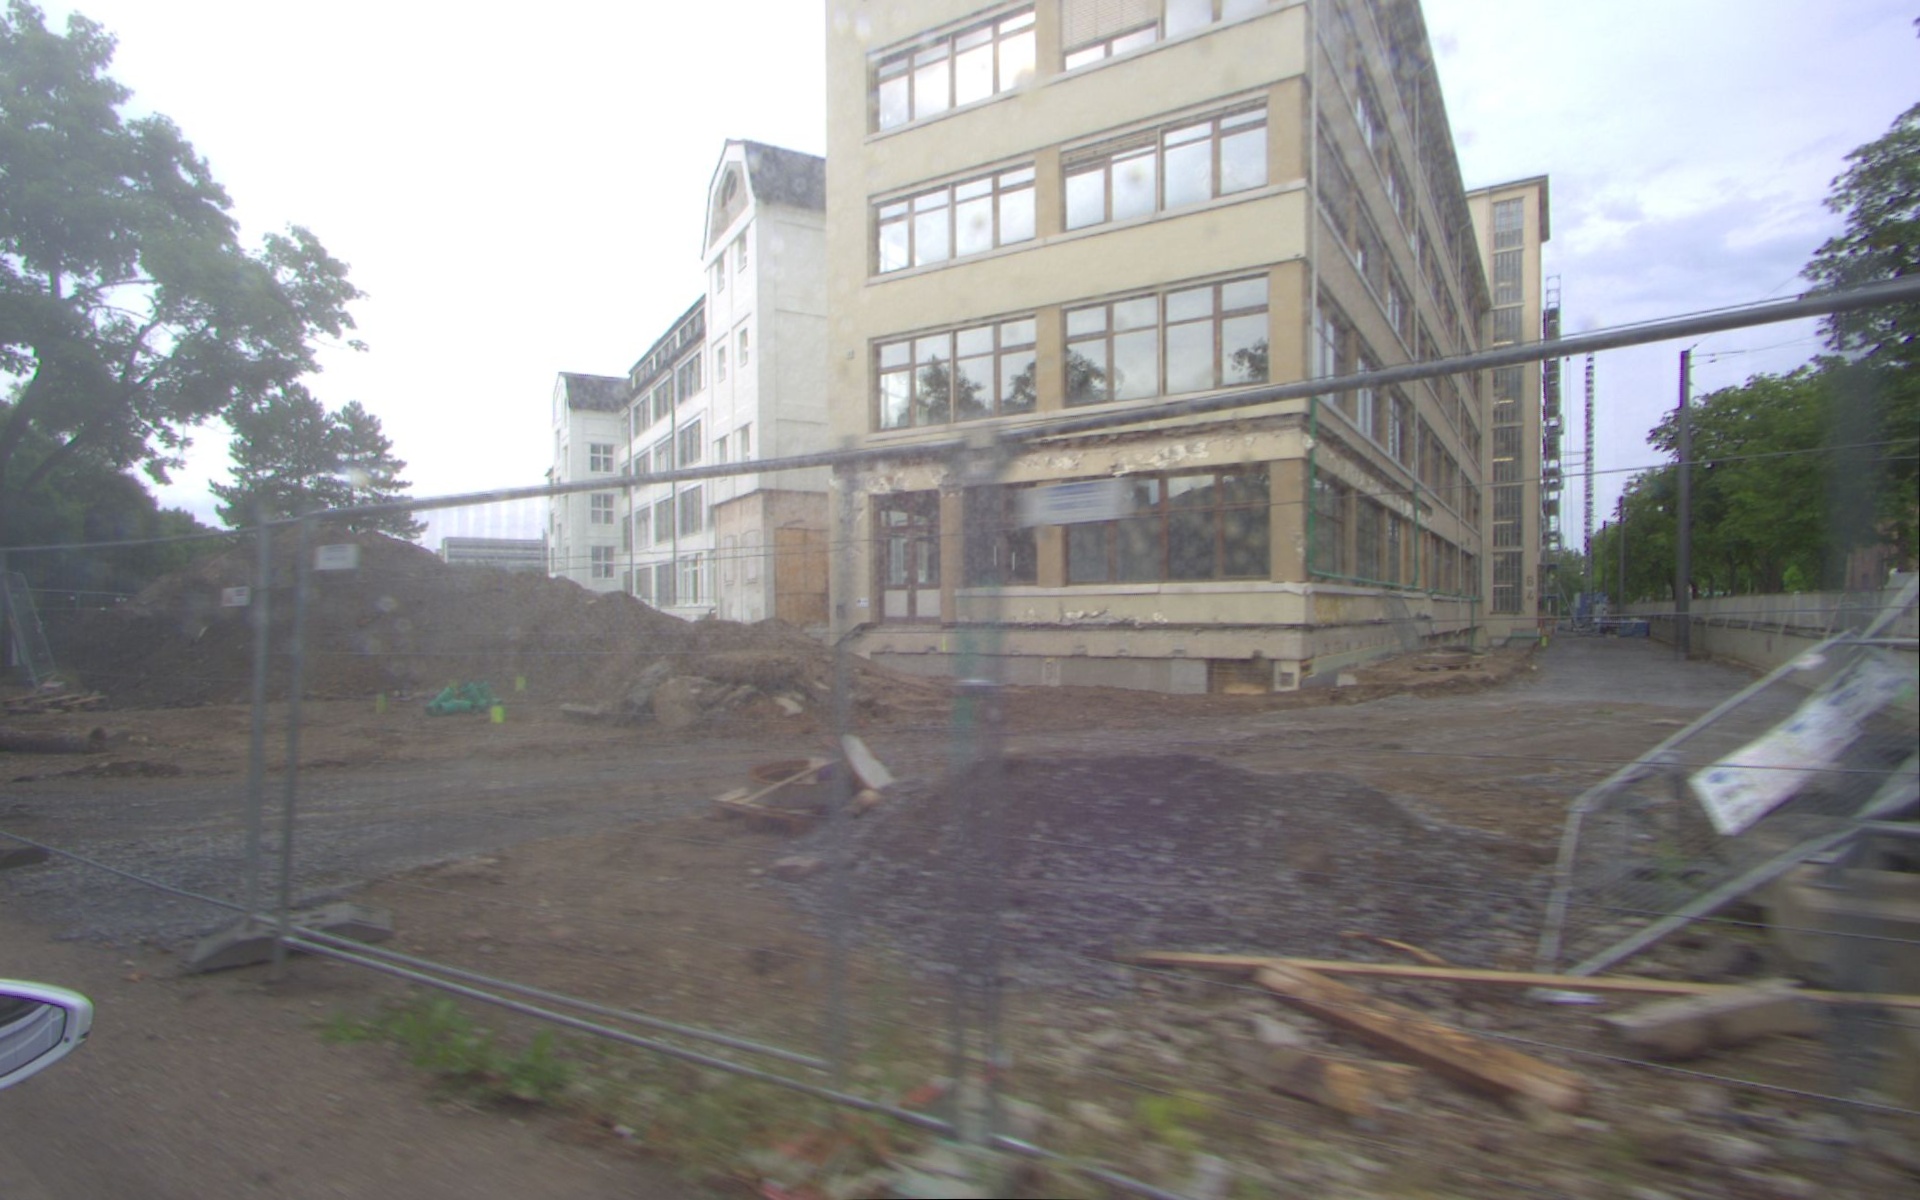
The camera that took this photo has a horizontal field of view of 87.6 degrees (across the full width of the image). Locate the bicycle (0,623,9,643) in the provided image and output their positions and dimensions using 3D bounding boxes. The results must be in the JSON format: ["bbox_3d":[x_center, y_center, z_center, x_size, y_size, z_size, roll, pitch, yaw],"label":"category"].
[{"bbox_3d":[-48.646,1.676,50.628,0.765,0.991,2.013,1,-1,-42],"label":"bicycle"}]

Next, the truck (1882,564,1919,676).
[{"bbox_3d":[23.551,0.448,23.249,2.089,2.636,5.464,-1,-1,31],"label":"truck"}]

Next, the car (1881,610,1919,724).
[{"bbox_3d":[23.332,1.532,23.050,2.089,2.636,5.464,-1,-1,32],"label":"car"}]
